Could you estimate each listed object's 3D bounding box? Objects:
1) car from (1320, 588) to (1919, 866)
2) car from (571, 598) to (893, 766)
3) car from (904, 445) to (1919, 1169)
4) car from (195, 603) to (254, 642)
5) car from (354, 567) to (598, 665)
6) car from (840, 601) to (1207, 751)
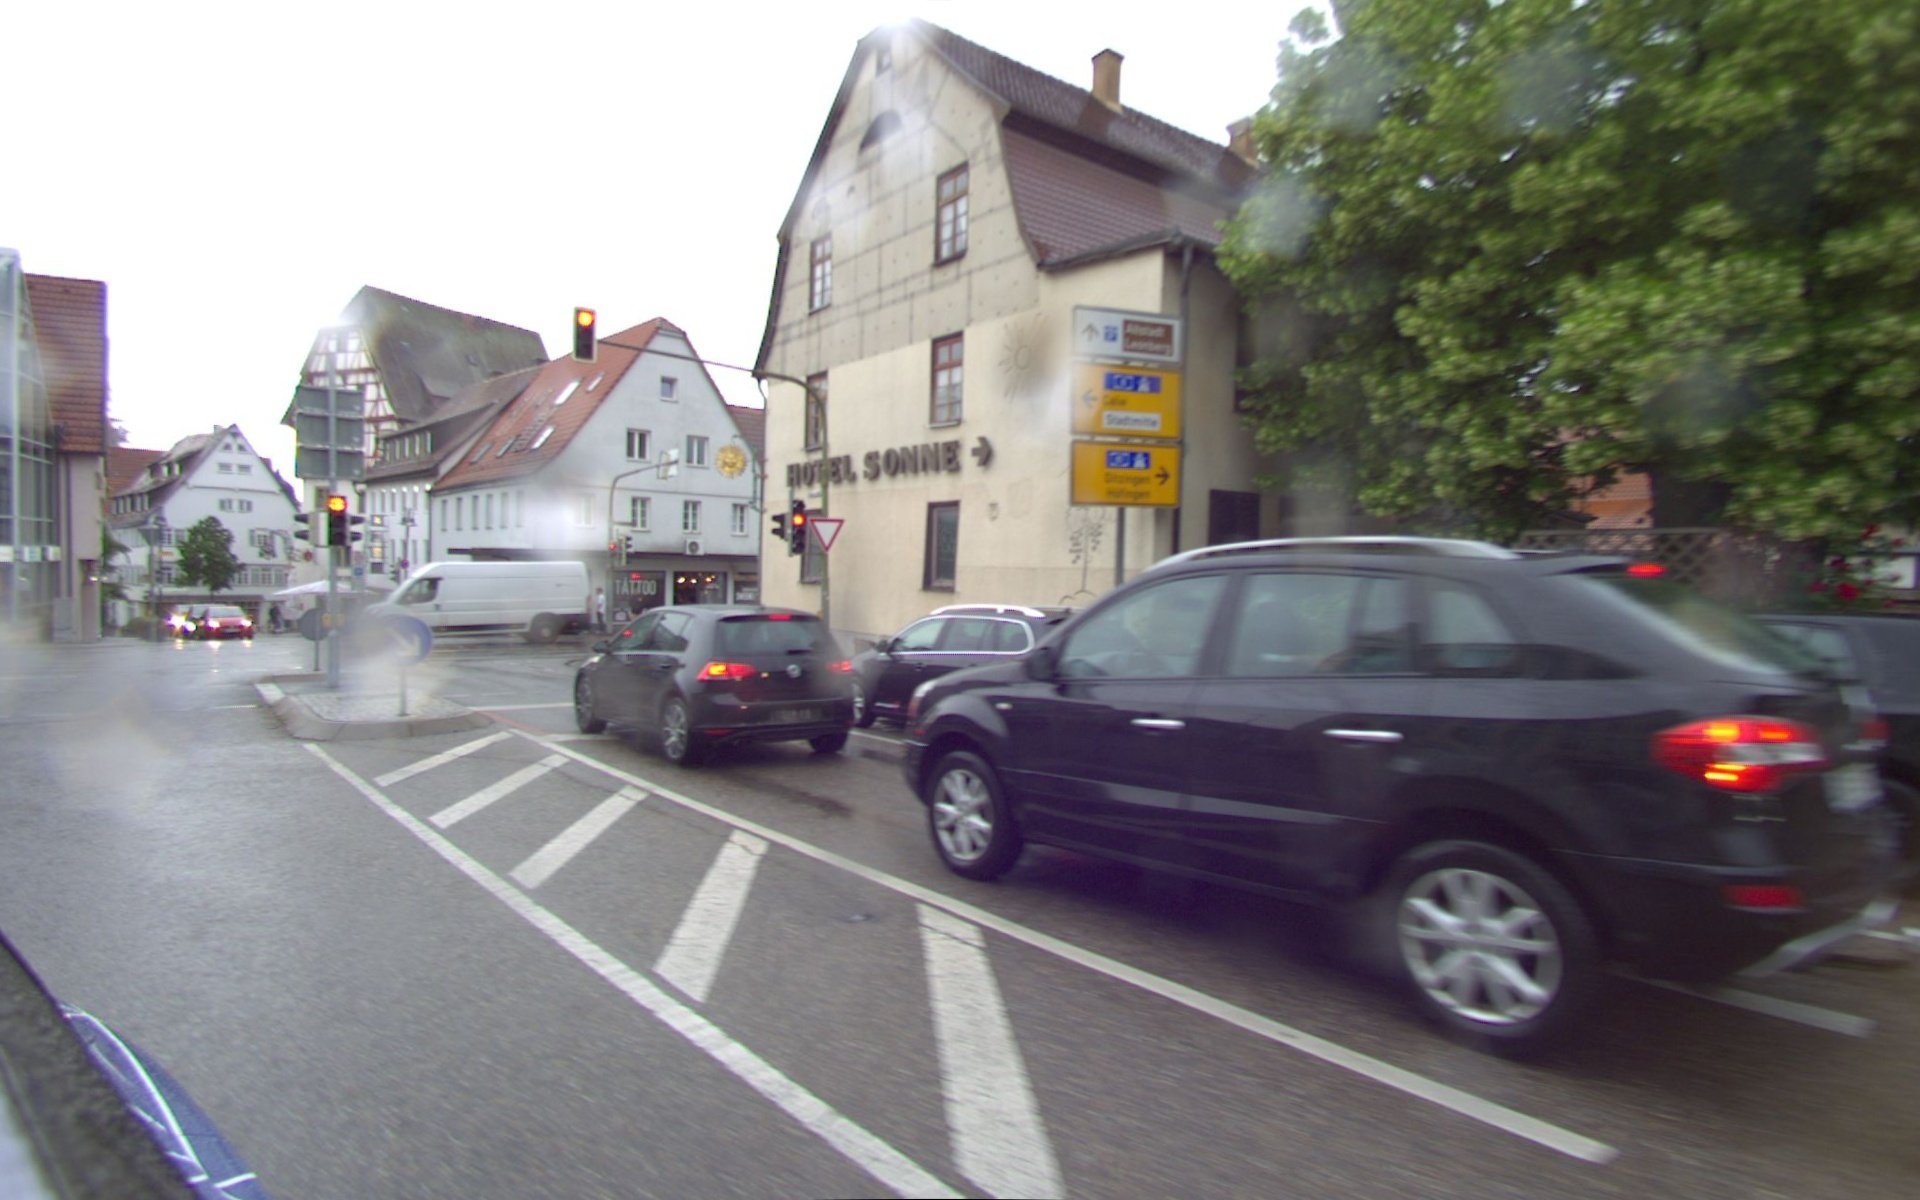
[{"bbox_3d":[4.614,0.625,6.479,1.715,1.364,4.068,-1,0,-38],"label":"car"},{"bbox_3d":[-2.488,0.691,10.385,1.790,1.374,3.755,-1,0,-38],"label":"car"},{"bbox_3d":[1.684,0.486,4.576,1.824,1.676,4.229,-1,0,-37],"label":"car"},{"bbox_3d":[-31.427,0.936,43.201,1.701,1.559,4.006,-1,0,-41],"label":"car"},{"bbox_3d":[-14.490,0.406,30.529,6.405,2.709,2.005,-1,0,-34],"label":"car"},{"bbox_3d":[0.501,0.687,11.078,1.824,1.303,4.041,-1,0,-37],"label":"car"}]
